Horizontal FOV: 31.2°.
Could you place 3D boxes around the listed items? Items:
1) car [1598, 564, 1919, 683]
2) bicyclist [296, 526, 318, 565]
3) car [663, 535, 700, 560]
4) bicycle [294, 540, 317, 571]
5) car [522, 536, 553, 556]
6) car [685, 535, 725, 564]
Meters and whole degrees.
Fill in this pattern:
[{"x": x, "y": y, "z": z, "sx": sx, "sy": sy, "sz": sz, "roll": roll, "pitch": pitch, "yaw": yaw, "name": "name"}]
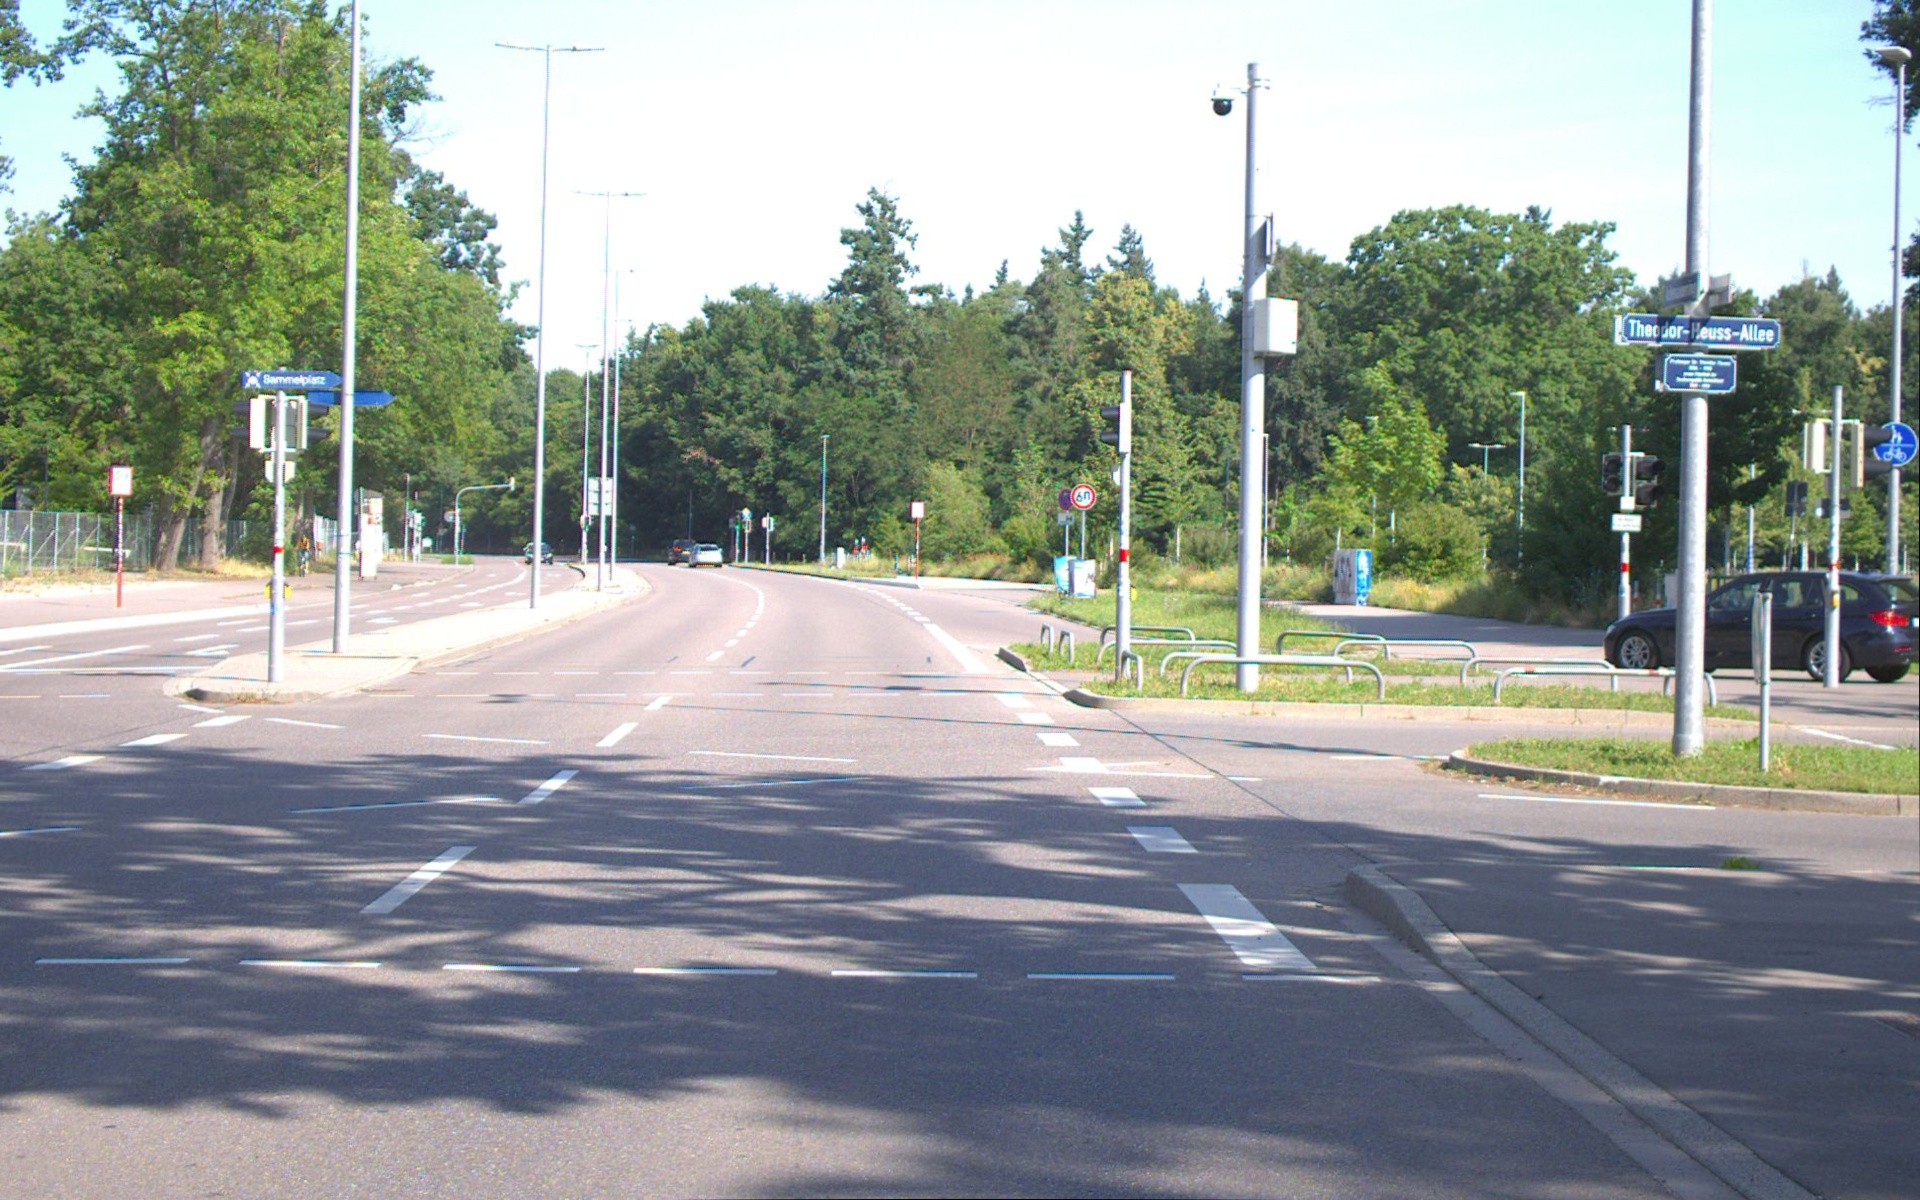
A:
[{"x": 10.824, "y": 0.279, "z": 45.399, "sx": 4.289, "sy": 1.415, "sz": 1.942, "roll": 2, "pitch": 1, "yaw": 41, "name": "car"}, {"x": -24.889, "y": -2.093, "z": 131.035, "sx": 0.659, "sy": 1.462, "sz": 1.057, "roll": 2, "pitch": 1, "yaw": -6, "name": "bicyclist"}, {"x": -18.395, "y": -3.496, "z": 227.072, "sx": 1.993, "sy": 1.590, "sz": 4.001, "roll": 1, "pitch": 1, "yaw": -11, "name": "car"}, {"x": -24.926, "y": -1.692, "z": 131.005, "sx": 0.659, "sy": 1.132, "sz": 1.879, "roll": 2, "pitch": 1, "yaw": -6, "name": "bicycle"}, {"x": -29.436, "y": -3.755, "z": 239.654, "sx": 1.810, "sy": 1.383, "sz": 4.163, "roll": -1, "pitch": 1, "yaw": -11, "name": "car"}, {"x": -15.677, "y": -3.074, "z": 211.281, "sx": 1.993, "sy": 1.744, "sz": 4.001, "roll": 1, "pitch": 1, "yaw": -11, "name": "car"}]
